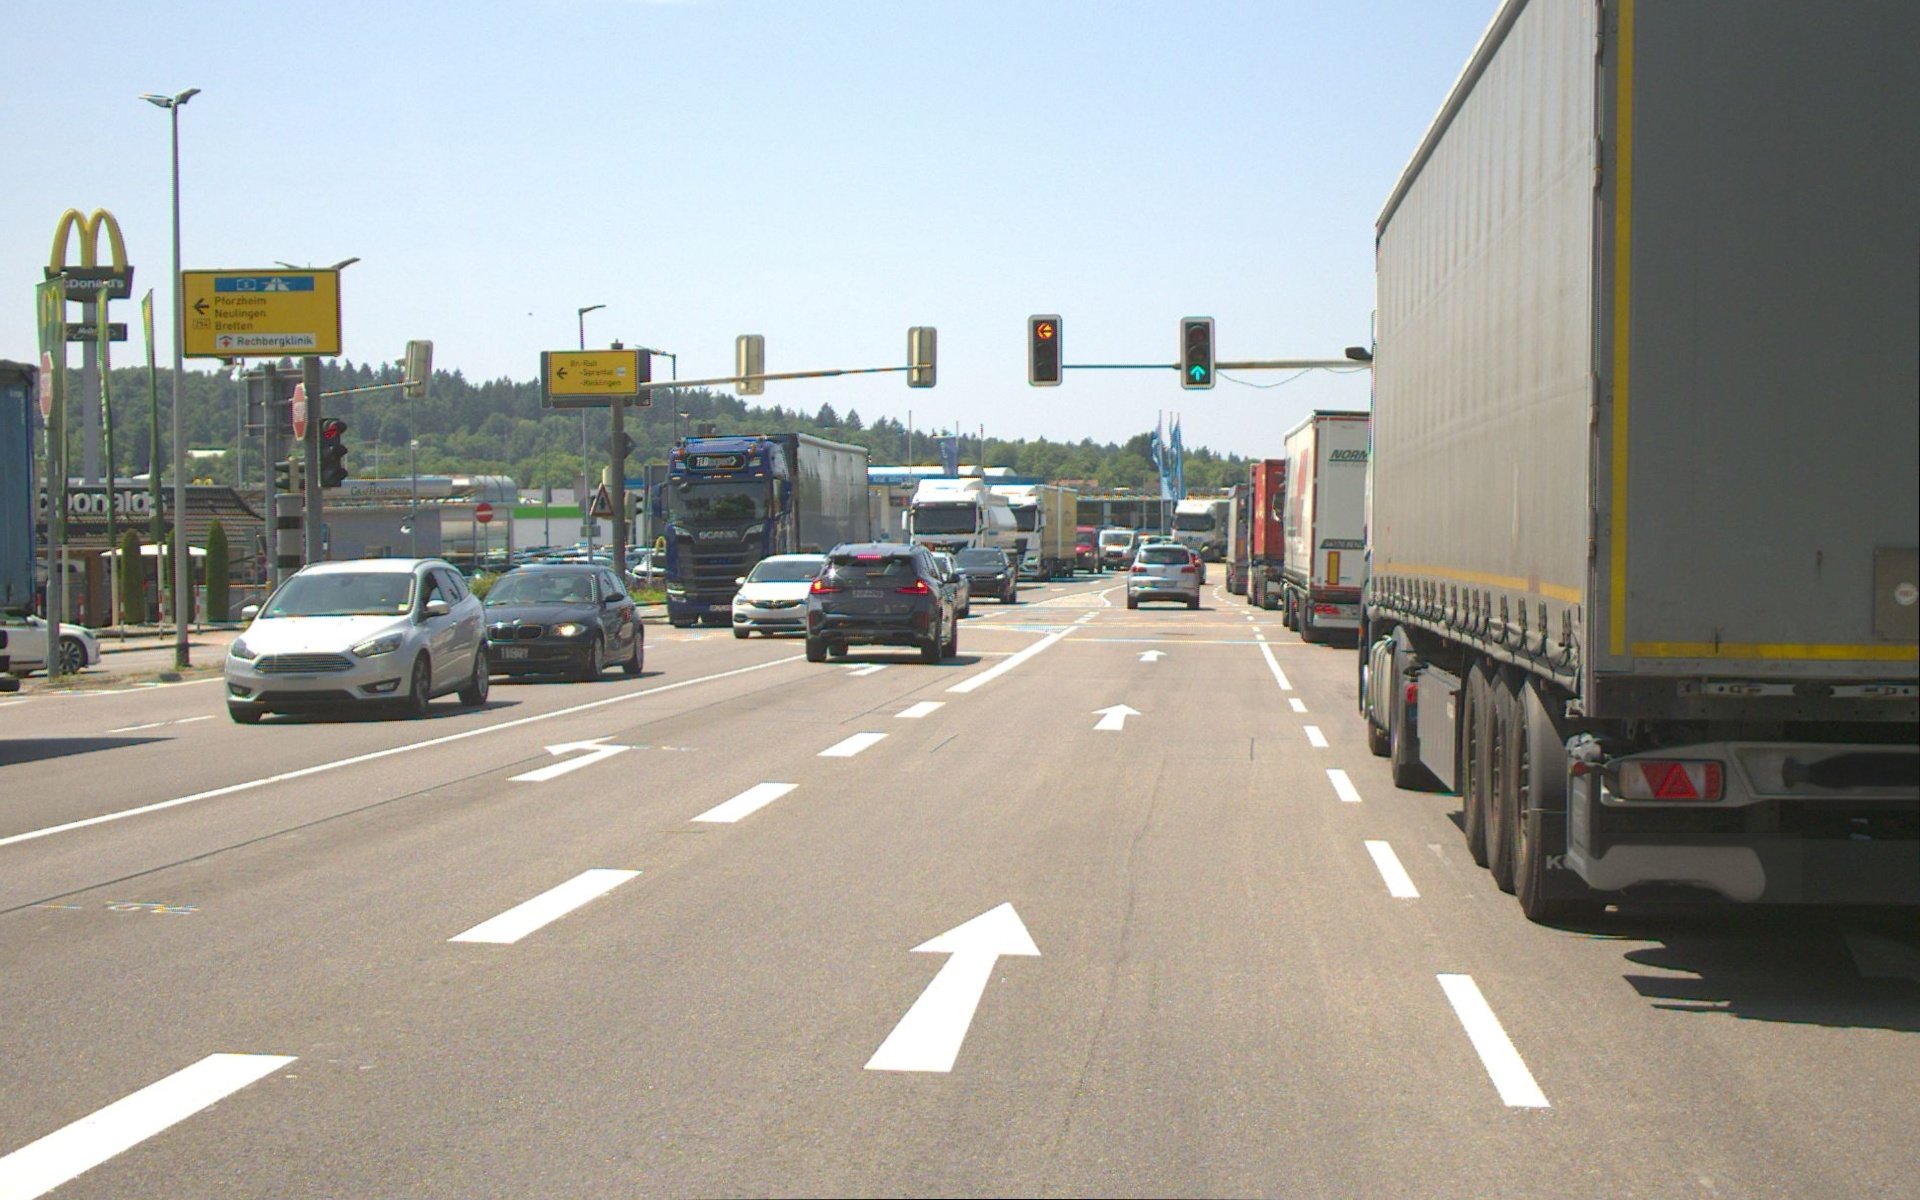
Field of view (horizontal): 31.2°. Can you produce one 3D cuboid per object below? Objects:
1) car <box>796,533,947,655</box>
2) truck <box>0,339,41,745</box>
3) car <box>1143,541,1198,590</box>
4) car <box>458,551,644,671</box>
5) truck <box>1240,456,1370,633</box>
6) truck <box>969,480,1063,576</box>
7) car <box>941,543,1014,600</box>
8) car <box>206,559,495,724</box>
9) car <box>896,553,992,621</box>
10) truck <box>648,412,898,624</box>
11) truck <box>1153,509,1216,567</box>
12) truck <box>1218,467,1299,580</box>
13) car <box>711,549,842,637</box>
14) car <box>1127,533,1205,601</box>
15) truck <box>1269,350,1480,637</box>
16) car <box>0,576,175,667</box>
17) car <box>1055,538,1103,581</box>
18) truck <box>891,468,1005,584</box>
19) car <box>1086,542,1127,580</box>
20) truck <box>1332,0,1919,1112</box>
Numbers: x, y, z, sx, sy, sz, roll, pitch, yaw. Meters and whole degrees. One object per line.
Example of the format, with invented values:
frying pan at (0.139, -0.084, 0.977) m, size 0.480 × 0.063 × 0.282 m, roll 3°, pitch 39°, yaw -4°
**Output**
car at (-1.196, -0.099, 48.106) m, size 1.794 × 1.621 × 4.369 m, roll 0°, pitch 1°, yaw 3°
truck at (-9.681, -0.451, 23.603) m, size 2.847 × 3.340 × 11.480 m, roll 0°, pitch 0°, yaw 5°
car at (8.767, -1.432, 142.881) m, size 1.994 × 2.007 × 3.999 m, roll 0°, pitch 1°, yaw 7°
car at (-4.939, 0.109, 41.961) m, size 1.662 × 1.399 × 4.016 m, roll 0°, pitch 1°, yaw 2°
truck at (9.465, -1.371, 95.839) m, size 2.875 × 4.463 × 16.652 m, roll 1°, pitch 0°, yaw 4°
truck at (2.522, -3.024, 148.532) m, size 2.935 × 3.936 × 13.862 m, roll 0°, pitch 1°, yaw 6°
car at (0.505, -0.799, 93.857) m, size 1.664 × 1.503 × 3.904 m, roll -1°, pitch 1°, yaw 5°
car at (-5.719, 0.347, 32.767) m, size 1.789 × 1.422 × 4.263 m, roll -2°, pitch 1°, yaw 3°
car at (-0.326, -0.315, 78.335) m, size 1.810 × 1.503 × 4.946 m, roll 0°, pitch 1°, yaw 4°
truck at (-4.020, -1.835, 79.708) m, size 3.146 × 4.334 × 17.539 m, roll -1°, pitch 1°, yaw 6°
truck at (16.810, -4.568, 256.333) m, size 3.272 × 3.937 × 13.859 m, roll 1°, pitch 0°, yaw 9°
truck at (10.503, -2.628, 121.756) m, size 2.608 × 3.704 × 9.448 m, roll 1°, pitch 0°, yaw 4°
car at (-3.278, -0.105, 62.167) m, size 1.741 × 1.498 × 4.405 m, roll -1°, pitch 0°, yaw 5°
car at (5.340, -0.853, 88.880) m, size 1.805 × 1.664 × 4.291 m, roll 1°, pitch 1°, yaw 6°
truck at (7.492, -1.695, 64.341) m, size 2.875 × 4.623 × 16.652 m, roll 1°, pitch 0°, yaw 4°
car at (-15.506, 0.363, 58.071) m, size 4.002 × 1.475 × 1.789 m, roll 1°, pitch 0°, yaw -43°
car at (5.904, -1.993, 170.771) m, size 1.994 × 2.007 × 3.999 m, roll 1°, pitch 0°, yaw 7°
truck at (-0.324, -2.597, 123.787) m, size 2.935 × 3.936 × 14.235 m, roll 0°, pitch 1°, yaw 4°
car at (7.987, -2.113, 186.991) m, size 1.905 × 2.007 × 3.999 m, roll 1°, pitch 0°, yaw 7°
truck at (3.942, -0.567, 19.691) m, size 2.756 × 4.623 × 16.652 m, roll 1°, pitch 0°, yaw 4°
